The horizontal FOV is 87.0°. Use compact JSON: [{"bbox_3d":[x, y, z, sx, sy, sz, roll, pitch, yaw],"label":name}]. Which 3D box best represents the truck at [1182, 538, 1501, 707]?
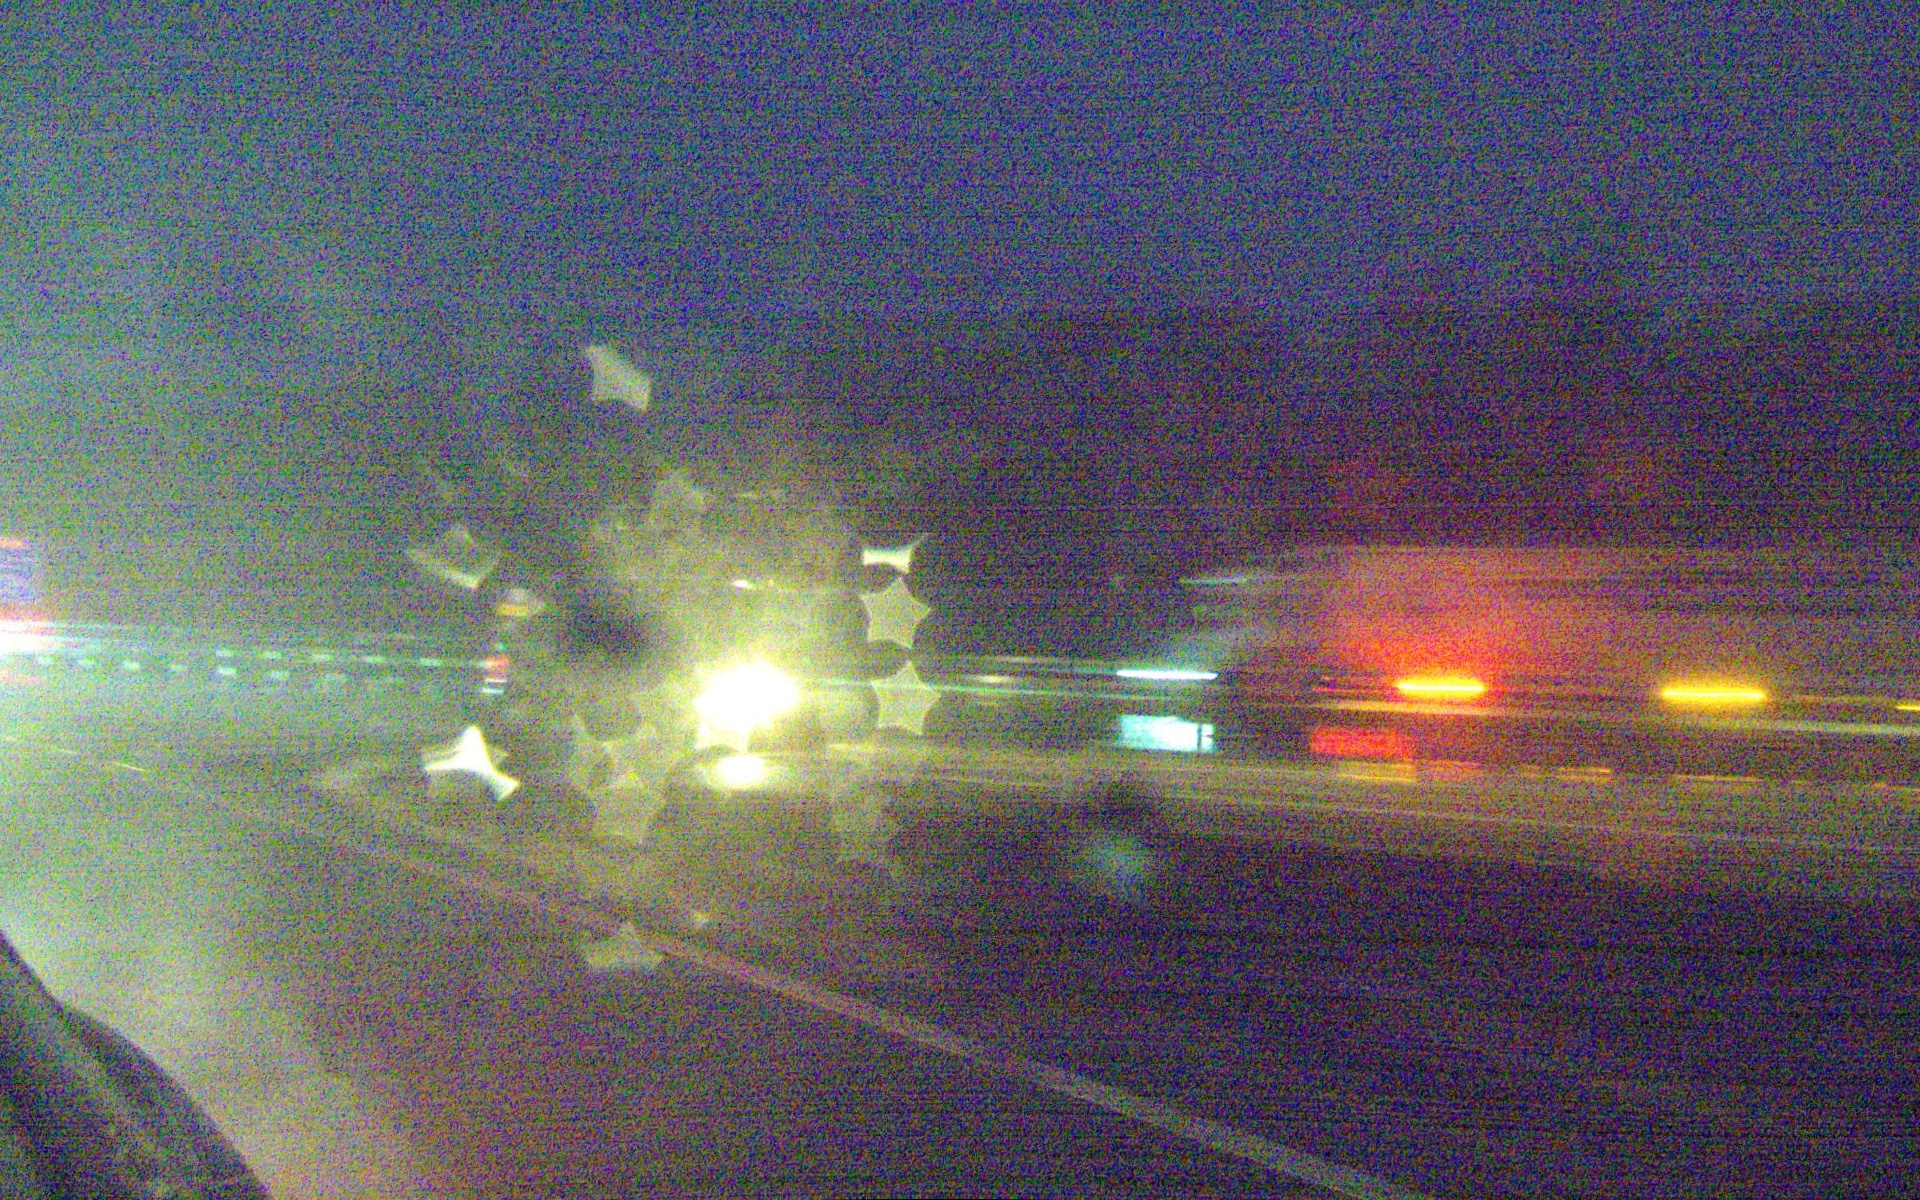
[{"bbox_3d":[9.723,0.576,26.694,7.390,4.003,3.392,0,-2,16],"label":"truck"}]

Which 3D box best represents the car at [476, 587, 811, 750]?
[{"bbox_3d":[-4.565,0.918,14.728,4.424,2.121,1.746,0,-2,17],"label":"car"}]

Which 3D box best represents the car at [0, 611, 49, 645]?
[{"bbox_3d":[-44.984,1.269,47.130,3.851,1.485,1.784,2,-2,11],"label":"car"}]

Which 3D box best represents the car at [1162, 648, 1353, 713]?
[{"bbox_3d":[6.660,1.765,22.790,3.982,1.289,1.634,0,-2,18],"label":"car"}]

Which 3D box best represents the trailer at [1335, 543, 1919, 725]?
[{"bbox_3d":[16.470,0.701,24.842,13.241,3.907,3.434,1,-1,15],"label":"trailer"}]
